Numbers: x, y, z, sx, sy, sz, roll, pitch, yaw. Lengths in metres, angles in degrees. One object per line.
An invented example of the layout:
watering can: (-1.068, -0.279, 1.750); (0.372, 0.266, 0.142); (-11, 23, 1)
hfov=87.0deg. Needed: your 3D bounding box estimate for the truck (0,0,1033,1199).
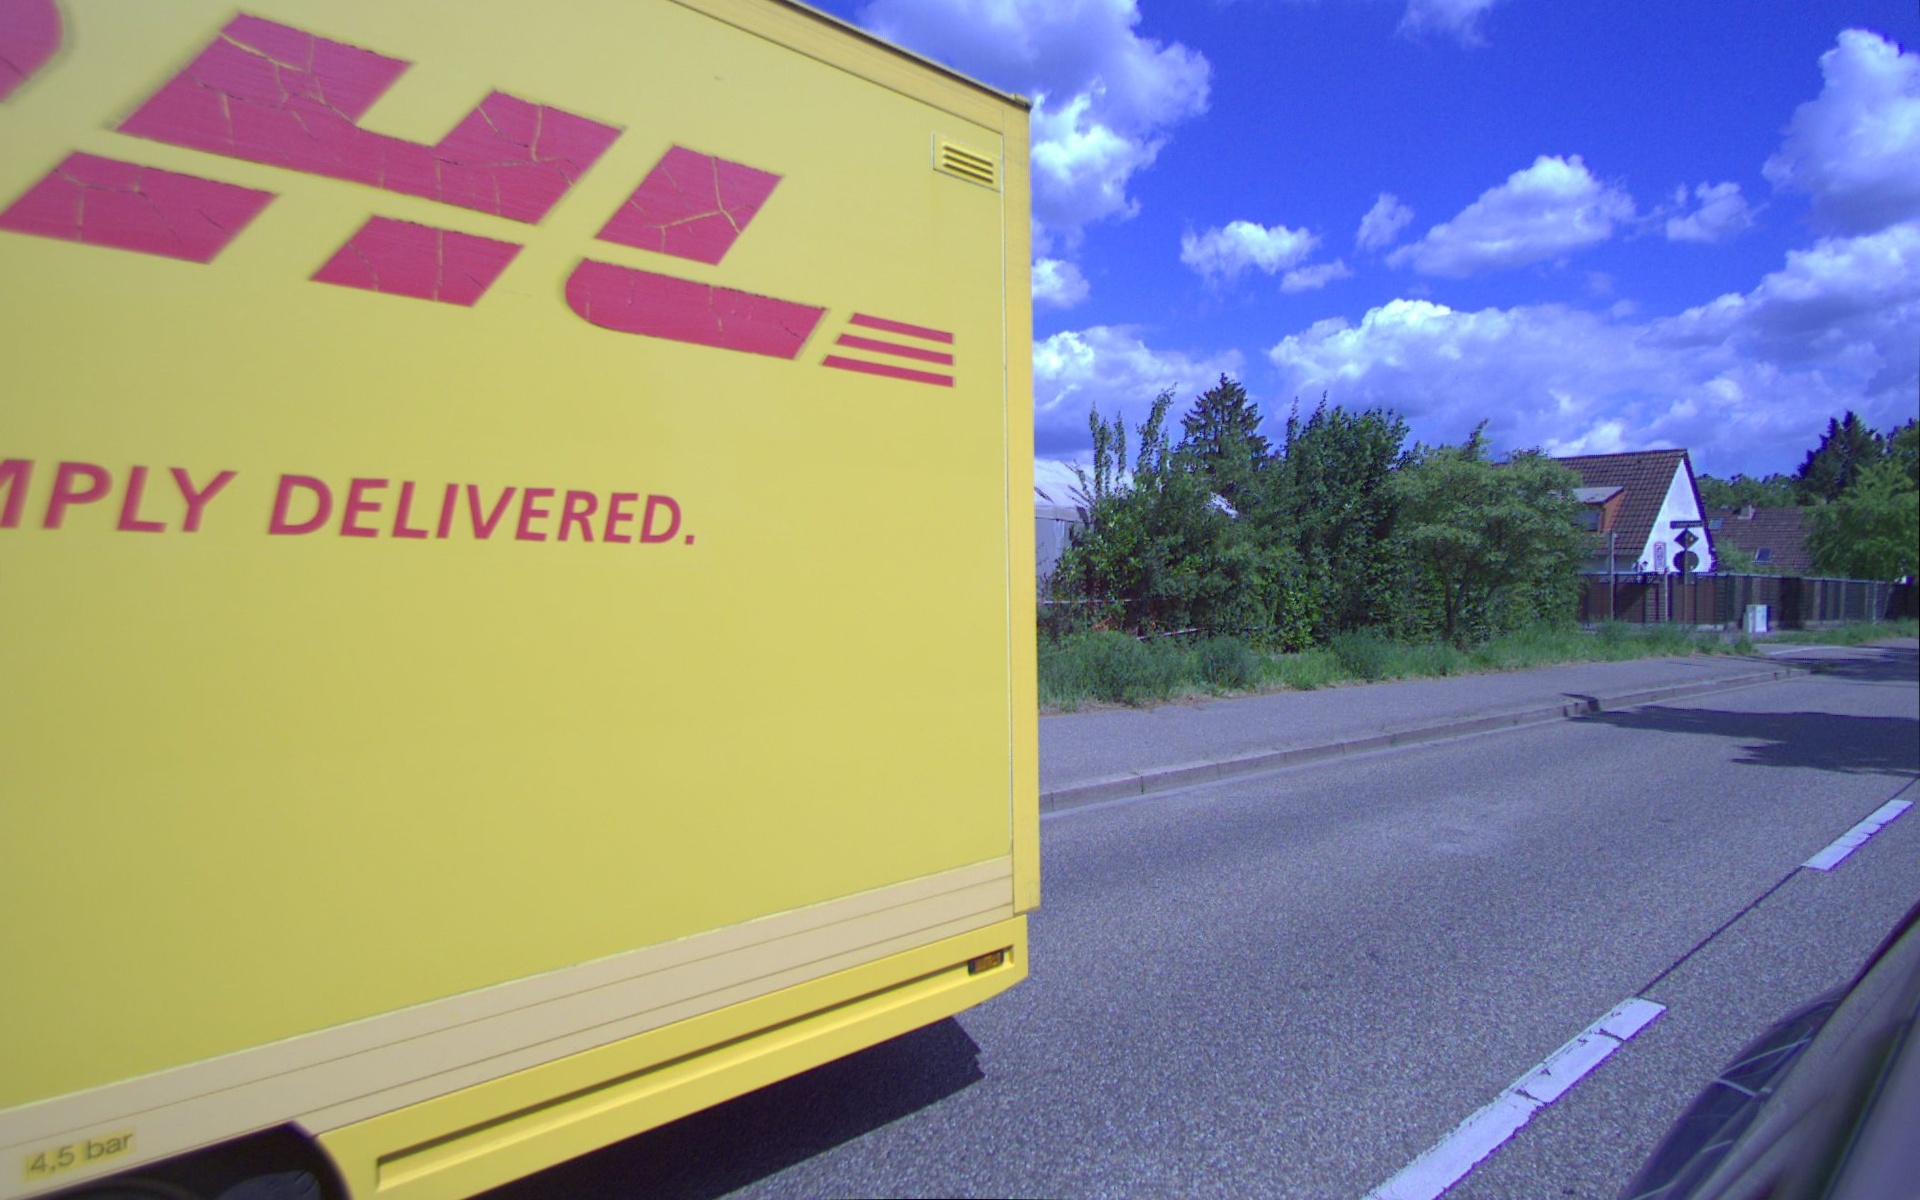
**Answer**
truck: (-3.481, -0.026, 1.005); (7.889, 2.917, 2.268); (0, 0, -42)
